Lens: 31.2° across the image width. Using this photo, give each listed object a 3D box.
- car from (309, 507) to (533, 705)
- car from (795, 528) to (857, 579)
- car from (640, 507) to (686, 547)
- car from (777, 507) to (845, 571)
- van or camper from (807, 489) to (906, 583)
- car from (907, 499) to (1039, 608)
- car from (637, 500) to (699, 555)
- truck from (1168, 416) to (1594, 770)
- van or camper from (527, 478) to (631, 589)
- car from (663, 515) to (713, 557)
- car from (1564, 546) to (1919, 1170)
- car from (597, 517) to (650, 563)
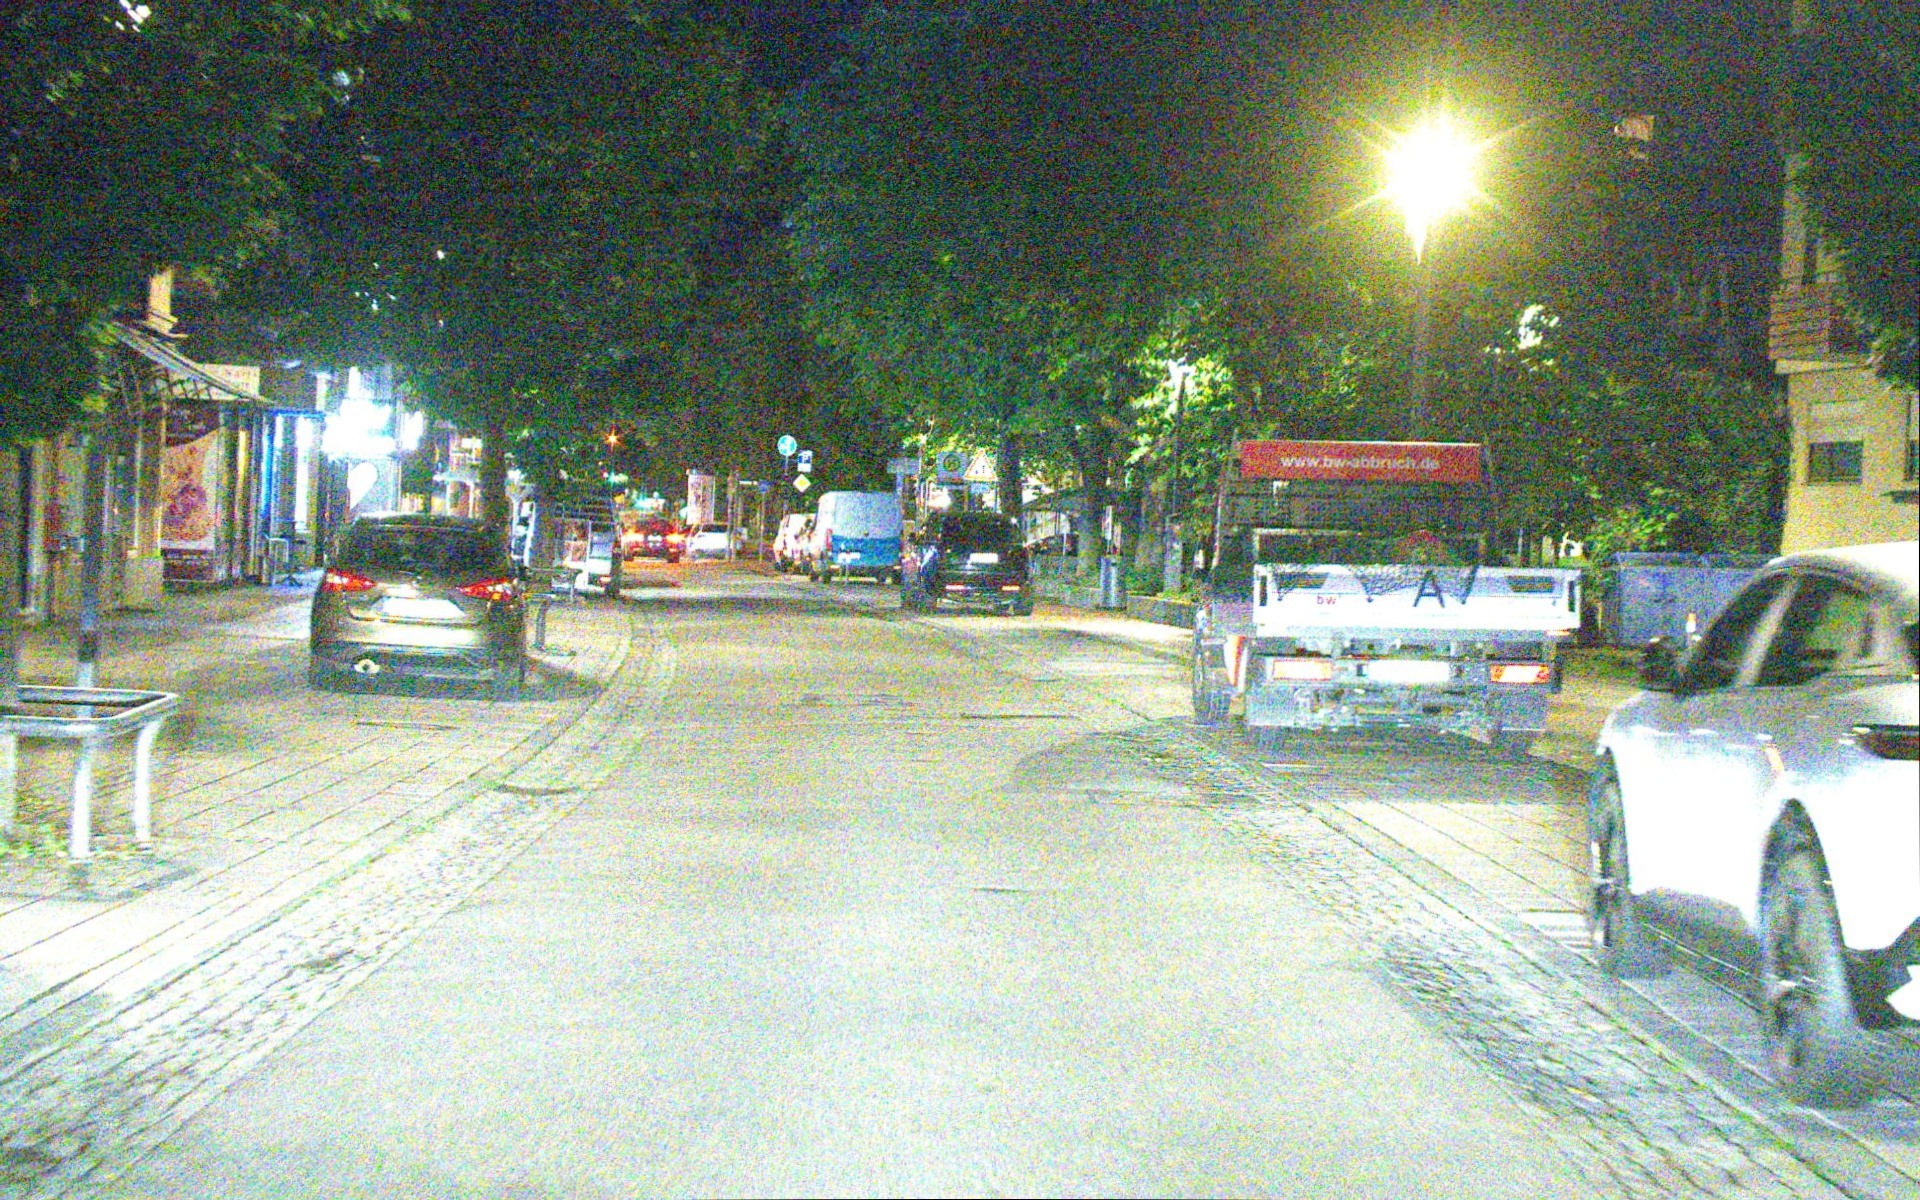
[{"bbox_3d":[-4.652,0.001,30.137,1.673,1.538,4.231,3,1,-6],"label":"car"},{"bbox_3d":[-3.898,-1.359,99.564,1.531,1.413,3.846,2,1,-6],"label":"car"},{"bbox_3d":[-14.287,-3.522,165.143,1.993,1.817,4.001,2,1,-7],"label":"car"},{"bbox_3d":[-4.600,-1.894,105.804,1.839,1.894,3.846,2,1,-6],"label":"car"},{"bbox_3d":[-2.651,-1.640,87.197,2.108,2.309,4.263,0,1,-7],"label":"van or camper"},{"bbox_3d":[0.188,-0.849,61.283,1.814,1.822,4.348,1,1,-6],"label":"car"},{"bbox_3d":[-10.244,-2.549,120.227,1.993,1.817,4.001,2,1,-6],"label":"car"},{"bbox_3d":[2.978,-0.108,25.791,2.336,2.304,5.781,1,1,-1],"label":"truck"},{"bbox_3d":[-7.534,-1.317,67.741,1.866,2.004,4.263,3,1,-7],"label":"van or camper"},{"bbox_3d":[-10.554,-2.482,133.102,1.839,1.537,3.846,2,1,-6],"label":"car"},{"bbox_3d":[3.054,0.596,10.302,1.789,1.486,4.059,1,1,0],"label":"car"},{"bbox_3d":[-13.130,-2.355,134.204,1.993,1.697,4.001,2,1,-5],"label":"car"}]
